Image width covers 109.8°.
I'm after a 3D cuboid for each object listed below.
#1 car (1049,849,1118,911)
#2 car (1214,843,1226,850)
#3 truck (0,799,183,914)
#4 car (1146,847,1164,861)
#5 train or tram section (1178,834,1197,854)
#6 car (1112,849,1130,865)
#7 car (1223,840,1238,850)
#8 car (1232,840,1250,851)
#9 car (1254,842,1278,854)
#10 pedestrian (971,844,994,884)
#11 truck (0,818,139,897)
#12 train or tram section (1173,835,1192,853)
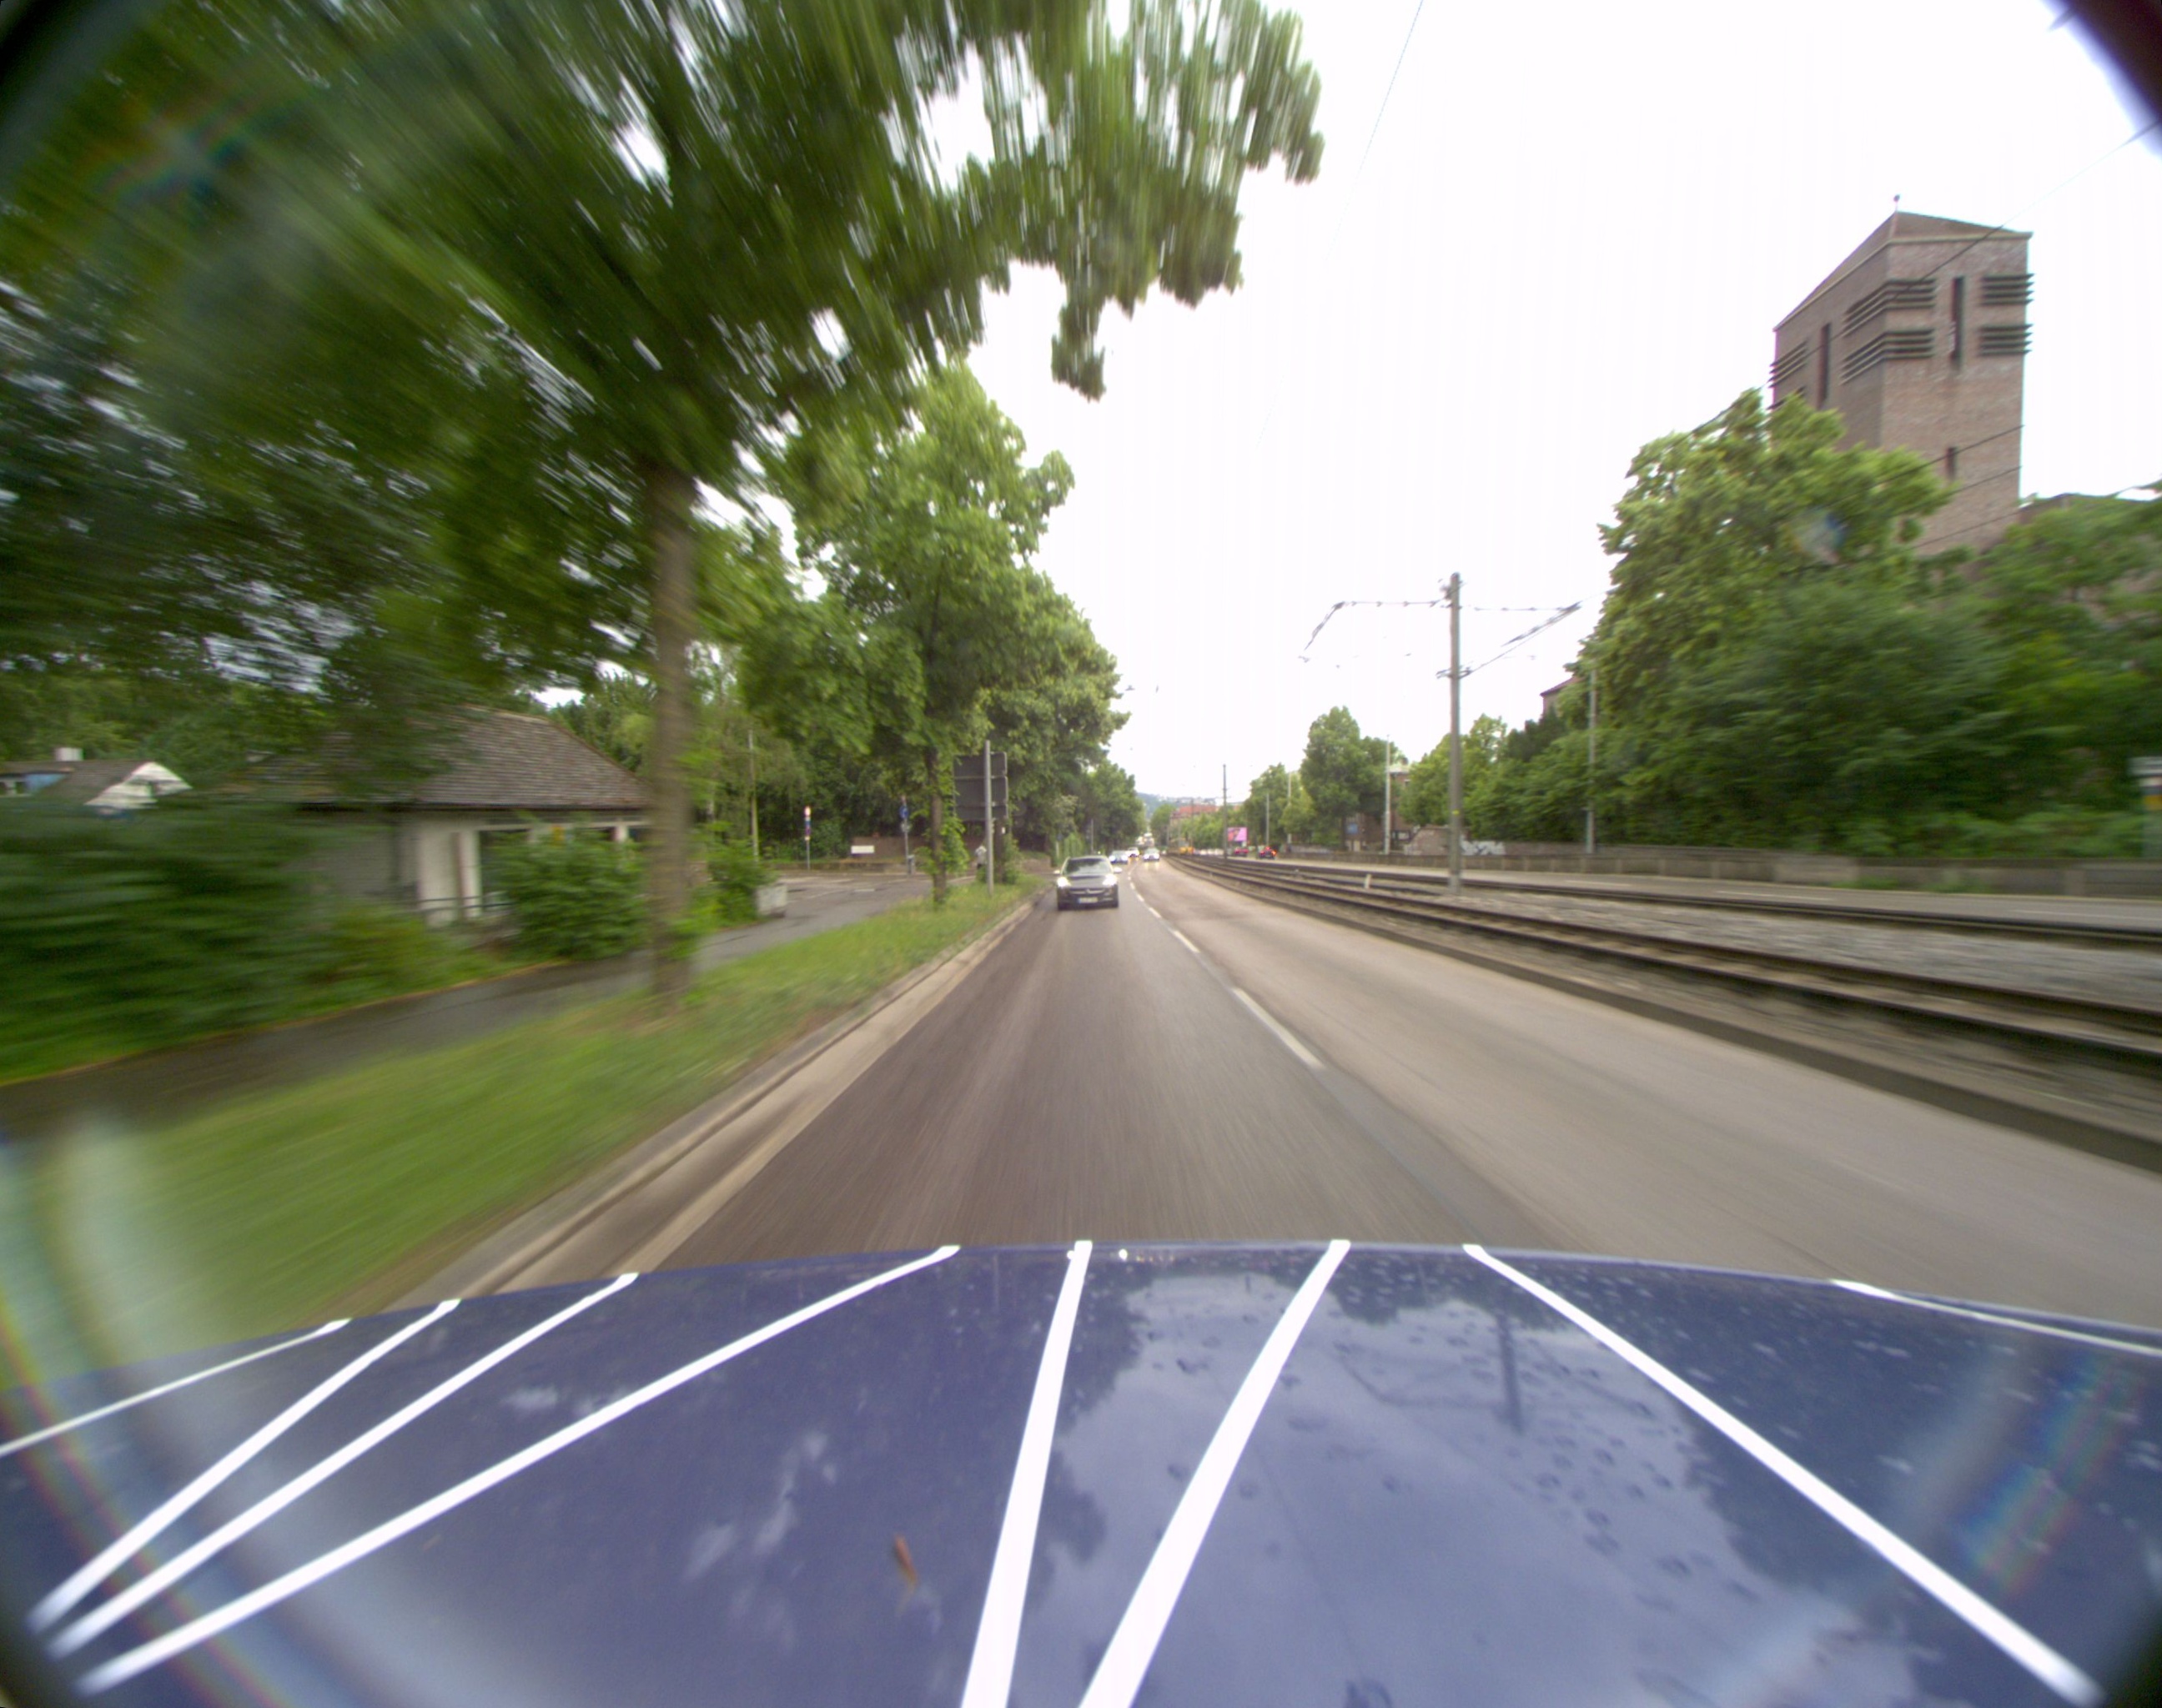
[{"bbox_3d":[0.158,0.673,22.325,1.746,1.544,4.494,-3,1,2],"label":"car"},{"bbox_3d":[27.633,-1.480,151.079,1.751,1.459,3.985,2,1,3],"label":"car"},{"bbox_3d":[-27.869,0.072,18.977,2.055,2.851,6.615,-1,1,22],"label":"truck"},{"bbox_3d":[8.474,0.017,86.691,1.768,1.503,4.343,-1,1,8],"label":"car"},{"bbox_3d":[22.384,-2.148,159.974,2.834,3.953,17.880,-1,1,5],"label":"train or tram section"},{"bbox_3d":[4.136,0.289,79.347,1.769,1.503,4.340,-1,1,1],"label":"car"},{"bbox_3d":[26.241,-1.579,133.572,1.998,1.634,4.412,0,1,3],"label":"car"},{"bbox_3d":[24.664,-1.381,117.345,1.998,1.634,4.525,0,1,3],"label":"car"},{"bbox_3d":[22.183,-0.721,91.108,1.970,1.433,4.321,0,1,2],"label":"car"},{"bbox_3d":[-4.538,0.449,35.106,0.856,1.843,0.737,-1,1,5],"label":"pedestrian"},{"bbox_3d":[-33.249,0.201,23.382,5.409,2.168,2.221,-4,1,-2],"label":"truck"},{"bbox_3d":[23.706,-2.312,178.575,2.834,3.953,20.031,-1,1,4],"label":"train or tram section"}]
